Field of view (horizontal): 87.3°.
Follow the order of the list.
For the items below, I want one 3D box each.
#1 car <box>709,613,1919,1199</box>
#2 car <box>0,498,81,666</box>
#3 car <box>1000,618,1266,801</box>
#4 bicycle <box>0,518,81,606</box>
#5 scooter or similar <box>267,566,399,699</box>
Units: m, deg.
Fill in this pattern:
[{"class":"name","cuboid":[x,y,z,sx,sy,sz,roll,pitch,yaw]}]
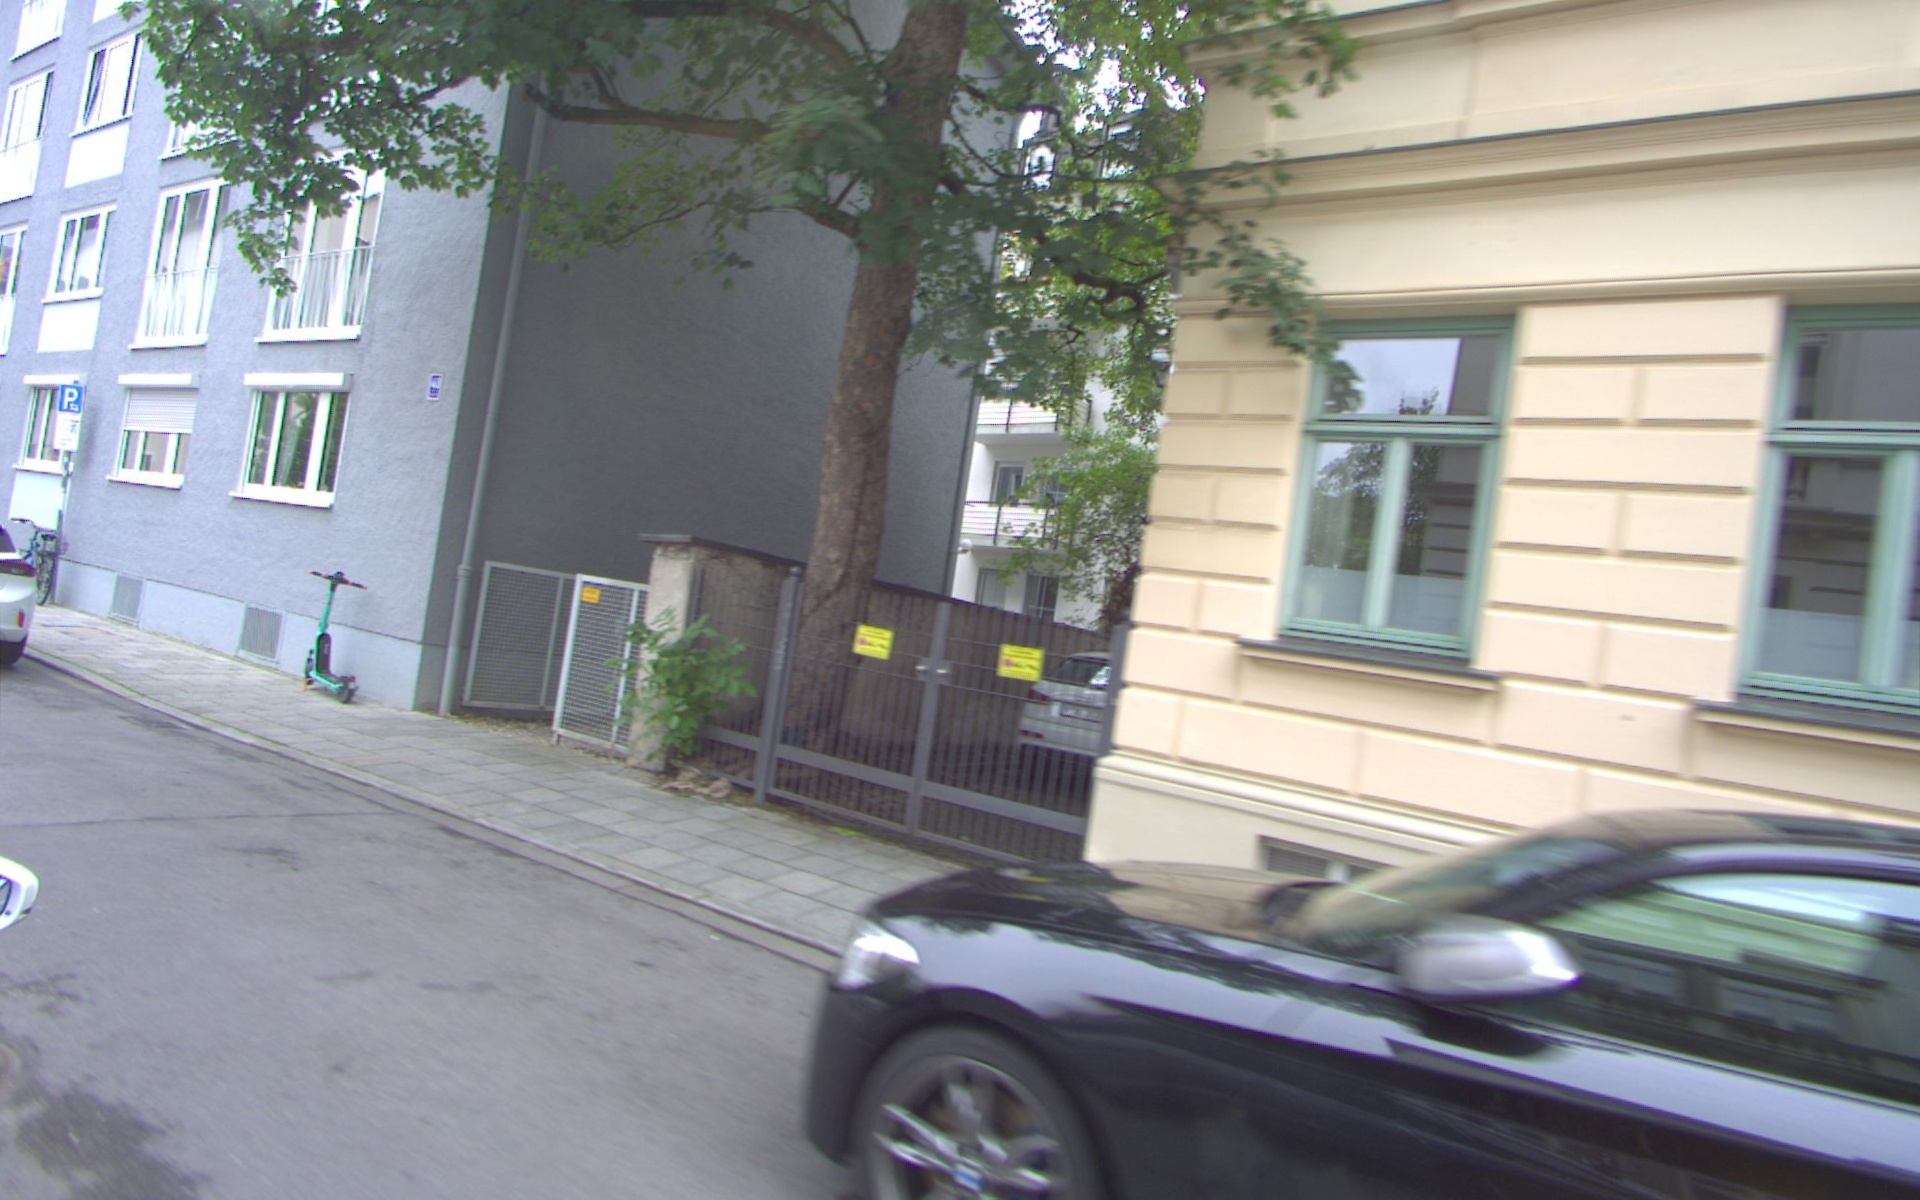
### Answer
[{"class":"car","cuboid":[1.820,1.091,2.260,4.433,1.388,1.862,7,-4,30]},{"class":"car","cuboid":[-10.714,-0.484,9.919,4.273,1.459,1.776,7,-6,32]},{"class":"car","cuboid":[2.228,1.304,12.007,1.817,1.591,3.813,8,-3,29]},{"class":"bicycle","cuboid":[-13.625,-0.575,14.872,1.658,1.123,0.378,7,-1,32]},{"class":"scooter or similar","cuboid":[-6.452,0.324,10.330,1.353,1.188,0.506,7,-1,33]}]
